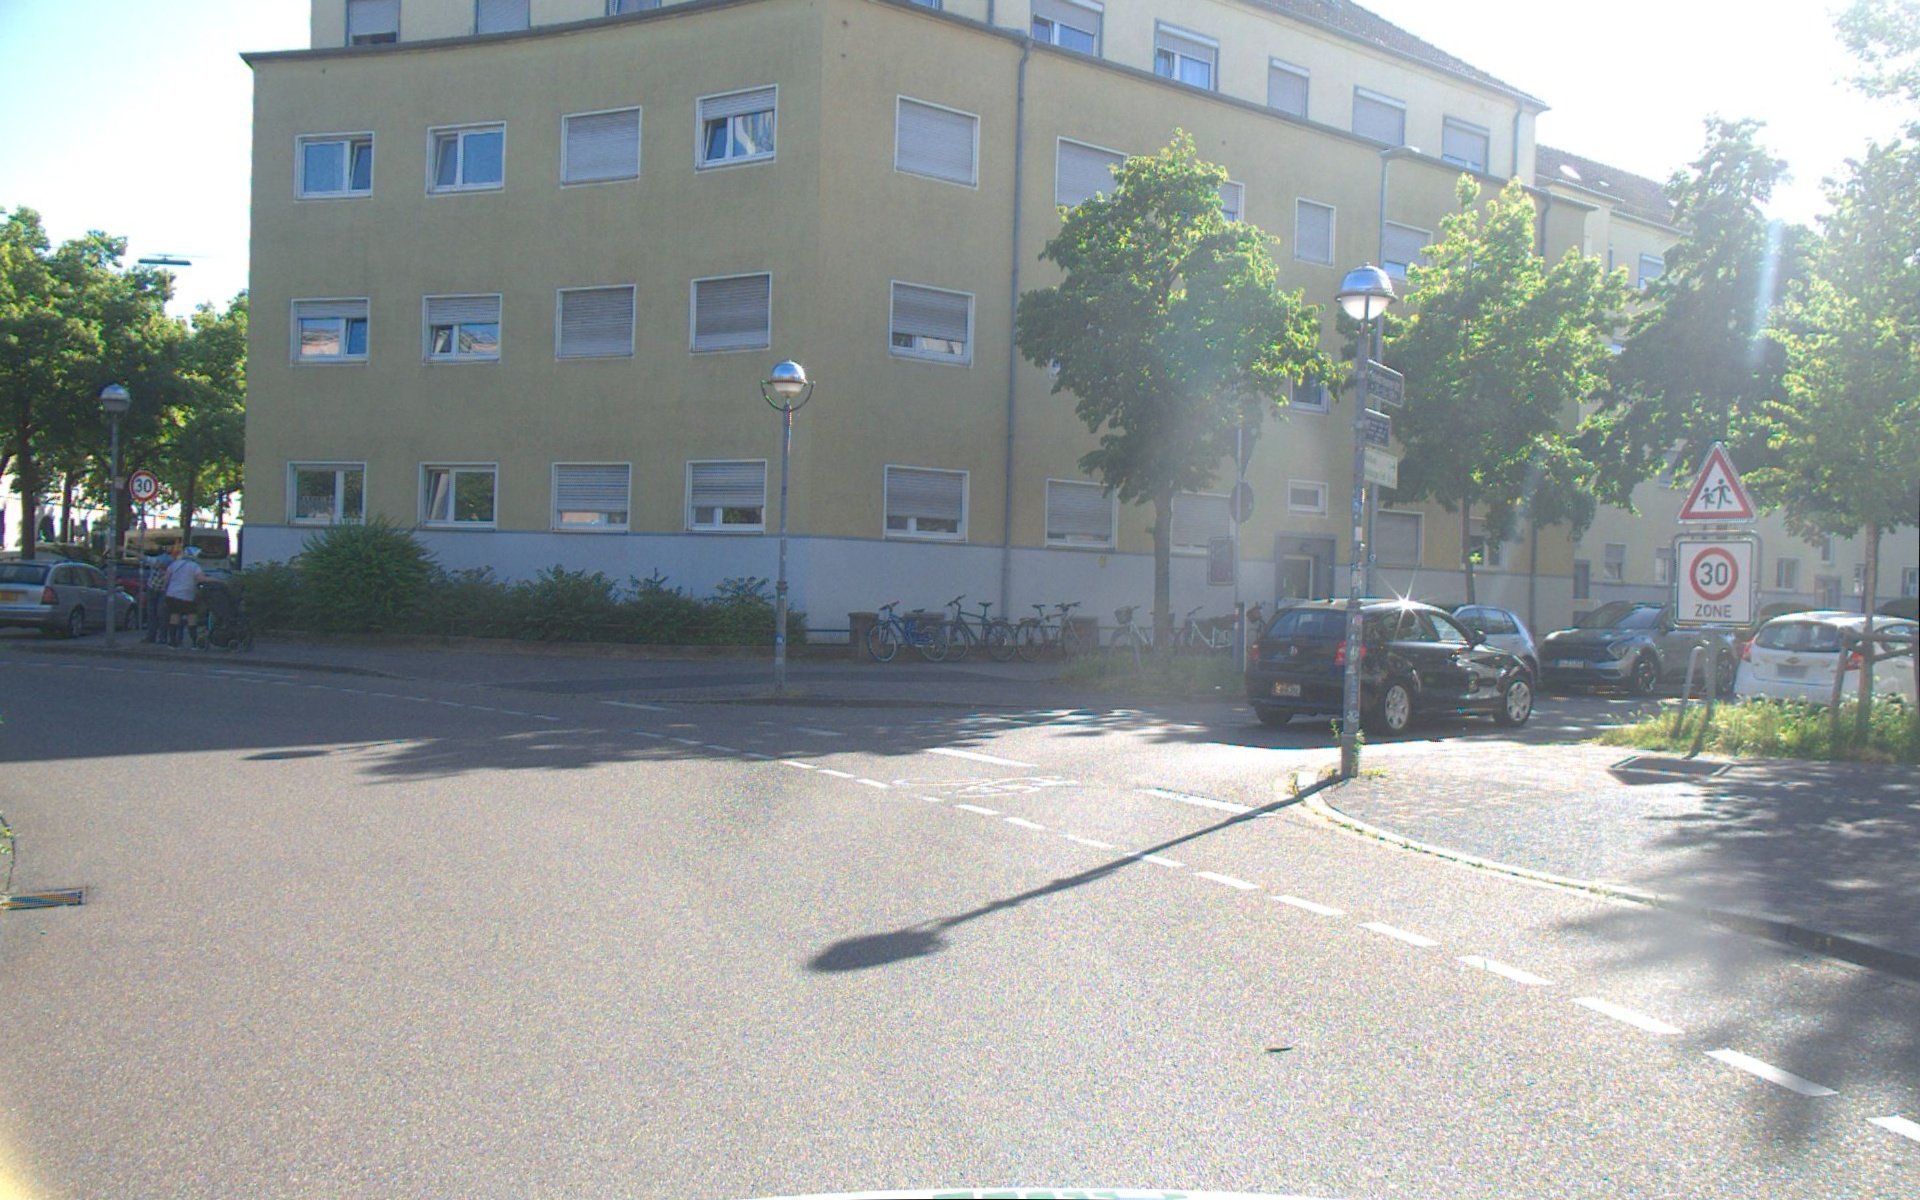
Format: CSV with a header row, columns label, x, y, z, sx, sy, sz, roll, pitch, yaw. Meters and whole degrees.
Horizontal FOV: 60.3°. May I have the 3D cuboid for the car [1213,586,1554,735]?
label,x,y,z,sx,sy,sz,roll,pitch,yaw
car,4.805,0.630,18.504,3.967,1.444,1.842,1,1,-43

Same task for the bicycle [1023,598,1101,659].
label,x,y,z,sx,sy,sz,roll,pitch,yaw
bicycle,1.833,0.511,29.558,1.435,1.044,0.493,1,0,-39

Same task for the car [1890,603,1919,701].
label,x,y,z,sx,sy,sz,roll,pitch,yaw
car,14.297,0.728,22.389,3.682,1.277,1.775,1,0,-39

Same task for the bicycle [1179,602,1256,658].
label,x,y,z,sx,sy,sz,roll,pitch,yaw
bicycle,4.987,0.585,31.996,1.427,1.044,0.496,1,0,-26

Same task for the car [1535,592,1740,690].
label,x,y,z,sx,sy,sz,roll,pitch,yaw
car,11.980,0.719,29.145,3.964,1.603,1.773,2,-1,-41

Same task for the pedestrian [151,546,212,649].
label,x,y,z,sx,sy,sz,roll,pitch,yaw
pedestrian,-11.807,-0.046,25.103,0.636,1.550,0.696,0,1,-8

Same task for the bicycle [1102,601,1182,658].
label,x,y,z,sx,sy,sz,roll,pitch,yaw
bicycle,3.389,0.552,30.852,1.427,1.044,0.496,1,0,-26

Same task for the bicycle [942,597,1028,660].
label,x,y,z,sx,sy,sz,roll,pitch,yaw
bicycle,0.423,0.491,28.564,1.417,1.044,0.499,1,0,-6

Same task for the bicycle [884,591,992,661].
label,x,y,z,sx,sy,sz,roll,pitch,yaw
bicycle,-0.373,0.431,27.742,1.760,1.127,0.499,1,0,-6

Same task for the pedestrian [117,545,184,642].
label,x,y,z,sx,sy,sz,roll,pitch,yaw
pedestrian,-13.079,-0.109,26.733,0.808,1.550,0.695,0,1,-11

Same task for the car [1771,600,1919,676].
label,x,y,z,sx,sy,sz,roll,pitch,yaw
car,19.259,0.812,35.697,3.964,1.537,1.773,1,0,-41

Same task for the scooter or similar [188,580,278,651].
label,x,y,z,sx,sy,sz,roll,pitch,yaw
scooter or similar,-11.010,0.222,25.067,0.895,1.041,0.900,0,1,12

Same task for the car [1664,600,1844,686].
label,x,y,z,sx,sy,sz,roll,pitch,yaw
car,15.462,0.818,32.135,3.964,1.537,1.773,1,0,-41

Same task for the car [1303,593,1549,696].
label,x,y,z,sx,sy,sz,roll,pitch,yaw
car,7.215,0.677,25.422,3.964,1.436,1.777,2,0,-41

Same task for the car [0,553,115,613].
label,x,y,z,sx,sy,sz,roll,pitch,yaw
car,-27.336,-0.512,49.064,3.597,1.665,1.733,2,0,1

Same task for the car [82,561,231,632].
label,x,y,z,sx,sy,sz,roll,pitch,yaw
car,-17.986,-0.072,37.237,1.697,1.464,4.380,2,0,-8

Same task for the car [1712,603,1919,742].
label,x,y,z,sx,sy,sz,roll,pitch,yaw
car,10.756,0.813,19.526,3.958,1.437,1.776,2,0,-38

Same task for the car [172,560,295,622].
label,x,y,z,sx,sy,sz,roll,pitch,yaw
car,-18.543,-0.217,42.424,1.697,1.464,4.380,2,0,-8

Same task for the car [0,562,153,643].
label,x,y,z,sx,sy,sz,roll,pitch,yaw
car,-17.286,0.027,31.937,1.694,1.436,4.482,2,0,-8

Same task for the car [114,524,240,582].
label,x,y,z,sx,sy,sz,roll,pitch,yaw
car,-29.248,-1.746,61.796,4.105,2.022,2.170,1,0,27
